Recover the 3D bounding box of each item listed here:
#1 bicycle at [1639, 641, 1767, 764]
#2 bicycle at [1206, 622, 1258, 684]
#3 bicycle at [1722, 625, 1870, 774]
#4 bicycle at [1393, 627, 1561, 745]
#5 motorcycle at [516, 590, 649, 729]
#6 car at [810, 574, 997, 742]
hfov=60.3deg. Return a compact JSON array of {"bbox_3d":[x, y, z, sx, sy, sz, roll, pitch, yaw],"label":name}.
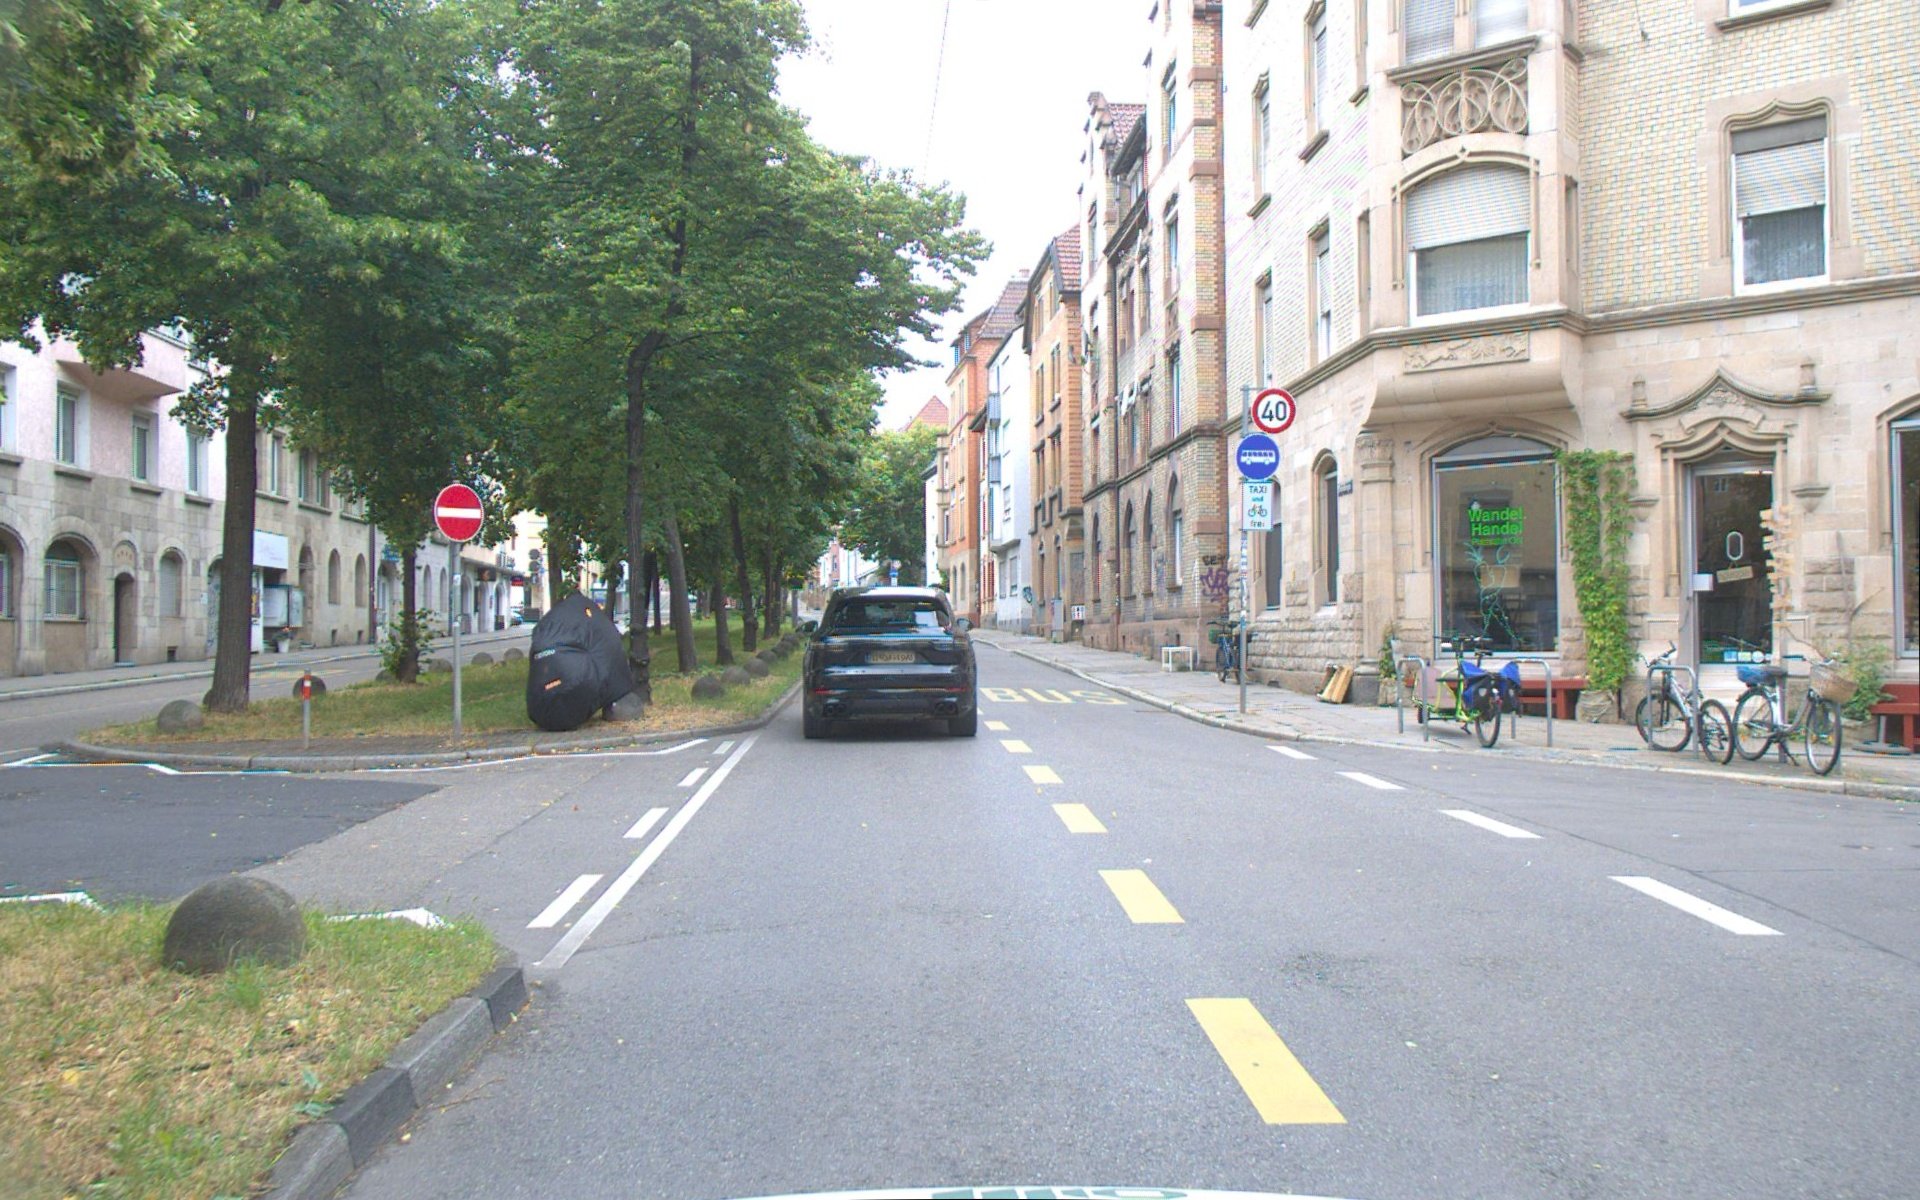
[{"bbox_3d":[7.395,0.988,16.543,0.342,1.077,1.833,2,1,-2],"label":"bicycle"},{"bbox_3d":[4.813,0.927,29.391,0.437,1.055,2.247,-1,-1,-2],"label":"bicycle"},{"bbox_3d":[8.166,0.937,16.232,0.437,1.181,1.834,-1,5,-2],"label":"bicycle"},{"bbox_3d":[5.604,0.892,18.149,0.861,1.149,2.978,0,0,-1],"label":"bicycle"},{"bbox_3d":[-4.287,0.651,18.988,0.999,1.471,2.246,-2,0,-1],"label":"motorcycle"},{"bbox_3d":[-0.731,0.585,19.445,1.954,1.694,3.998,1,2,-4],"label":"car"}]
